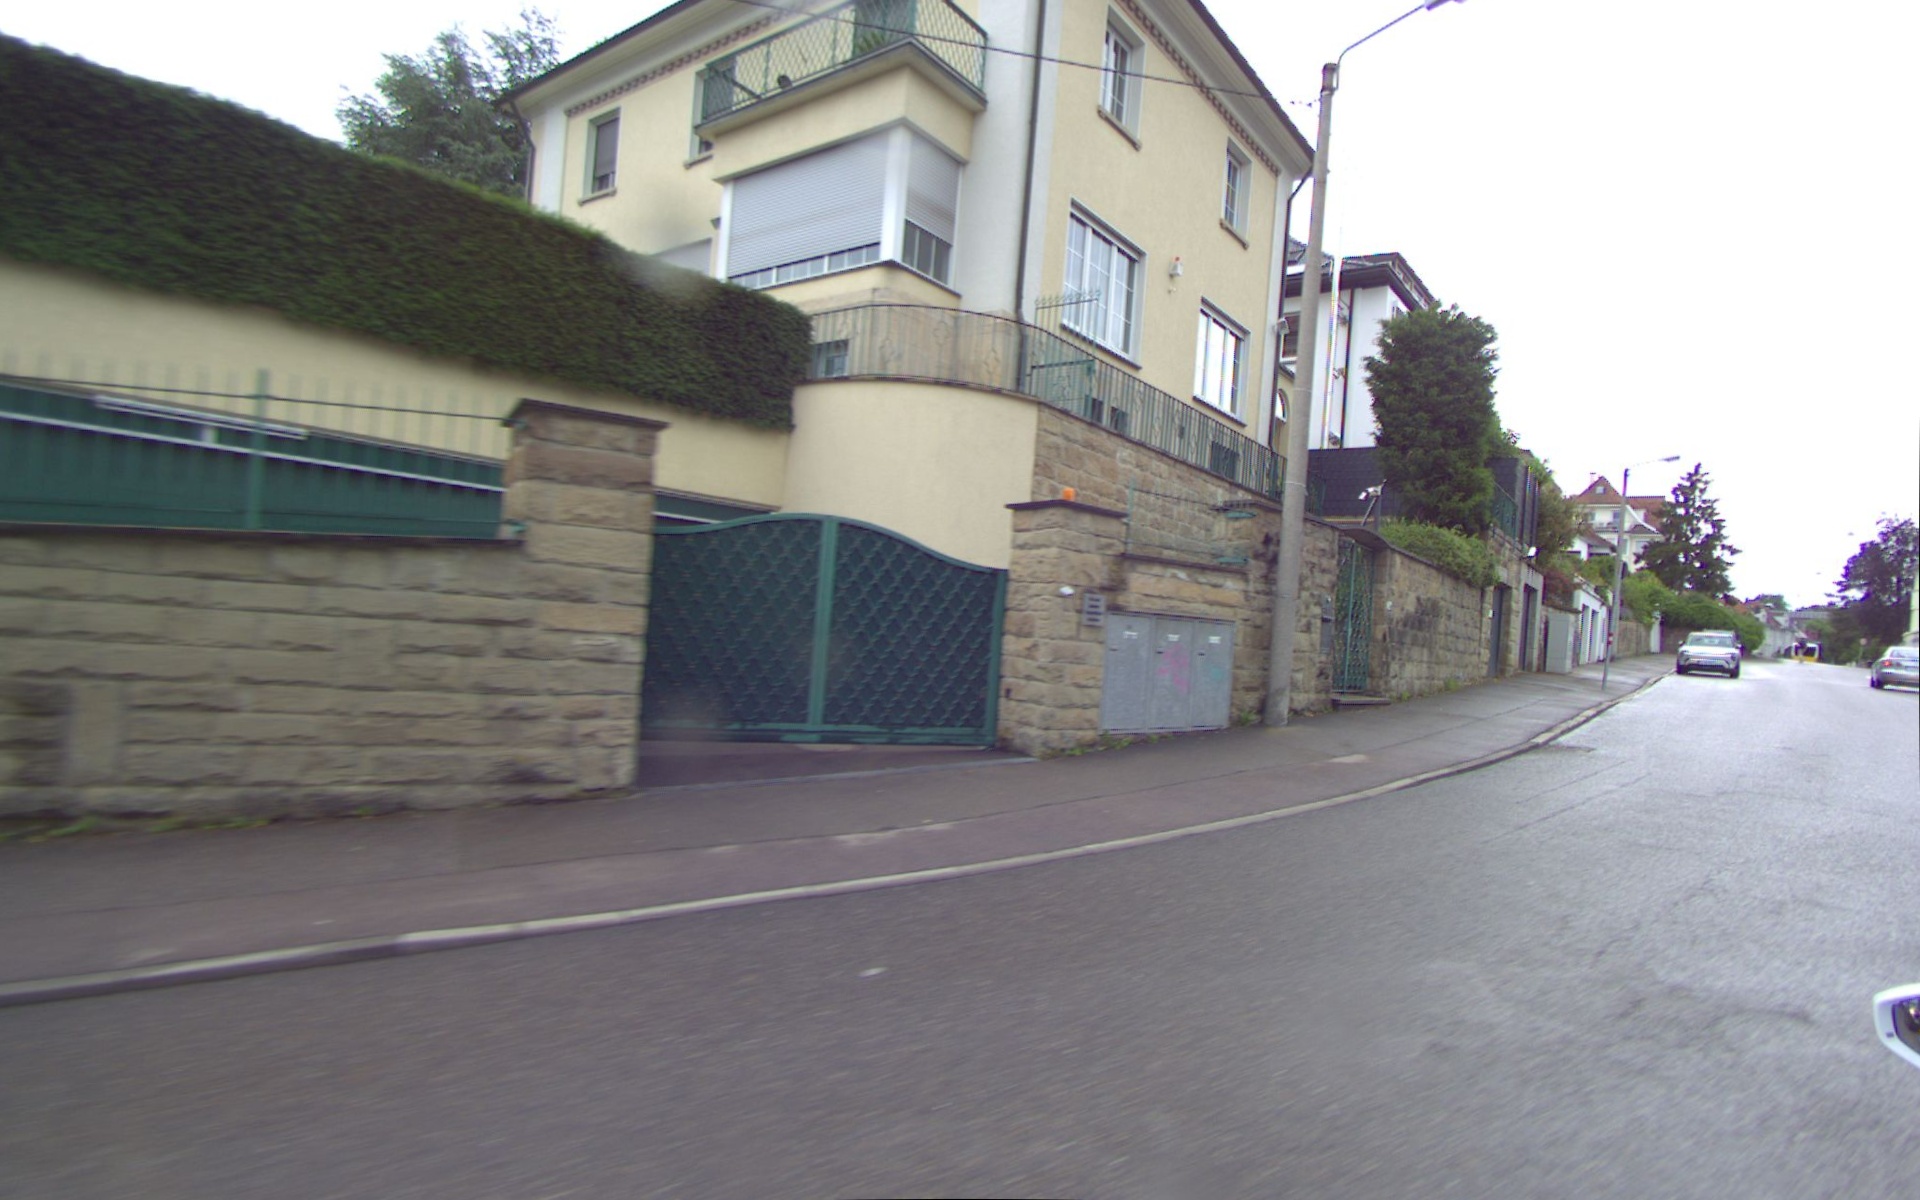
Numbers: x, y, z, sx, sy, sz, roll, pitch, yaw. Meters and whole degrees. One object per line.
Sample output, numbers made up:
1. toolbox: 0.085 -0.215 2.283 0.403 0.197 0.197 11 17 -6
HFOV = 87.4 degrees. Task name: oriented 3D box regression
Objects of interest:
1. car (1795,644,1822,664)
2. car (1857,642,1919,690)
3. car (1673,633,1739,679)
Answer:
1. car: 106.264 6.755 125.785 2.437 2.431 3.983 -1 -3 39
2. car: 30.759 2.127 32.887 1.831 1.478 4.077 0 -2 39
3. car: 28.272 2.079 38.025 1.875 1.588 4.220 0 -1 38
